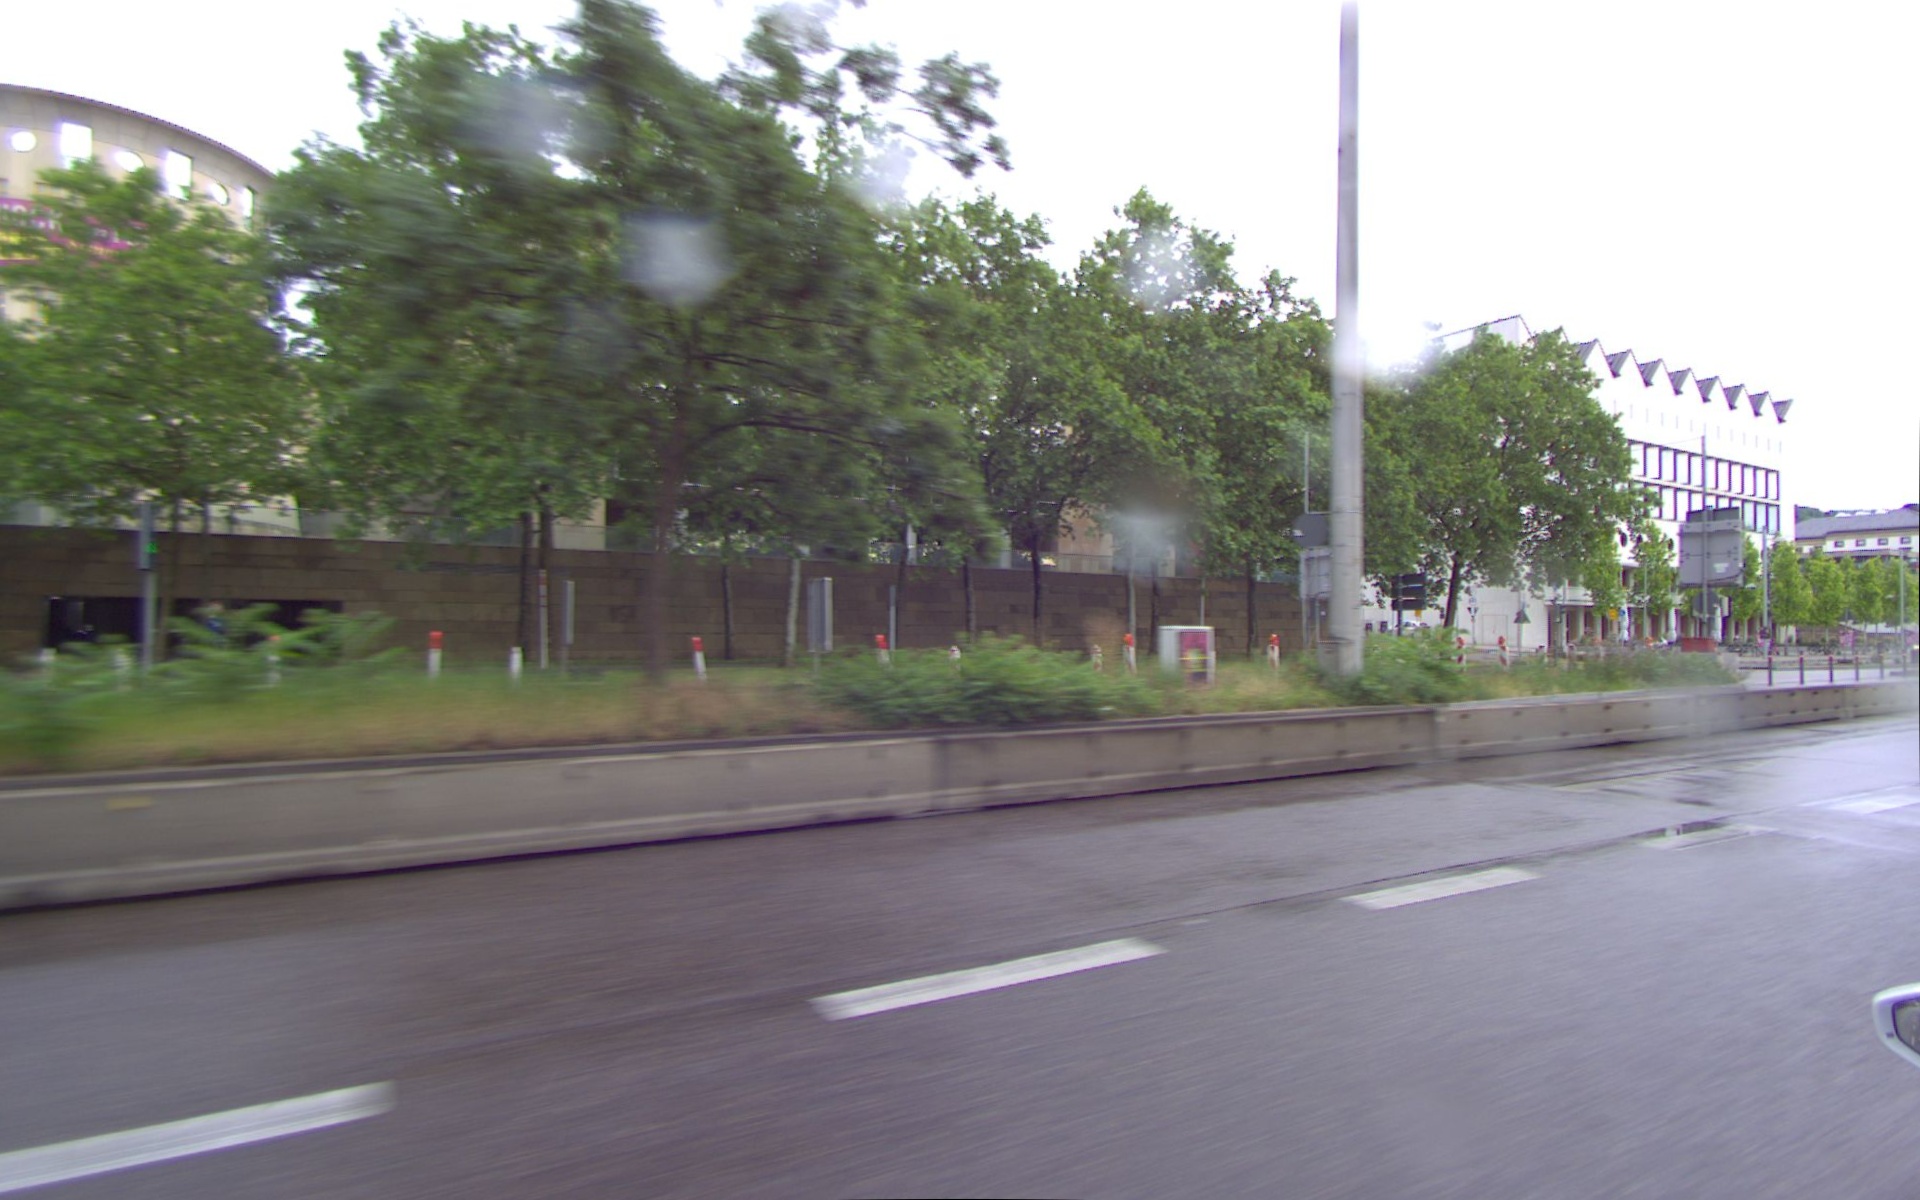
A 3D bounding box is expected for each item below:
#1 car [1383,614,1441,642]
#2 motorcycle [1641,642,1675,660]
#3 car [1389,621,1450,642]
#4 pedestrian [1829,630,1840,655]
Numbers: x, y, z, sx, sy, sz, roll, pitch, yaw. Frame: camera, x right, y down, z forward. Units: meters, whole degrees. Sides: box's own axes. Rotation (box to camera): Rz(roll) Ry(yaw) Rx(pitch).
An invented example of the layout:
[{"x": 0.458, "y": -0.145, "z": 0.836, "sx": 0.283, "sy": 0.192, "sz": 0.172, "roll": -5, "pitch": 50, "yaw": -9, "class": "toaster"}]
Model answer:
[{"x": 36.411, "y": 2.195, "z": 80.945, "sx": 1.973, "sy": 2.041, "sz": 3.975, "roll": -1, "pitch": 1, "yaw": -25, "class": "car"}, {"x": 45.371, "y": 3.317, "z": 65.318, "sx": 1.808, "sy": 1.169, "sz": 0.426, "roll": -1, "pitch": -3, "yaw": 33, "class": "motorcycle"}, {"x": 36.040, "y": 2.445, "z": 78.903, "sx": 1.978, "sy": 1.617, "sz": 3.965, "roll": 2, "pitch": -2, "yaw": -32, "class": "car"}, {"x": 72.946, "y": 3.565, "z": 83.814, "sx": 0.531, "sy": 2.040, "sz": 0.530, "roll": -1, "pitch": -3, "yaw": 25, "class": "pedestrian"}]
